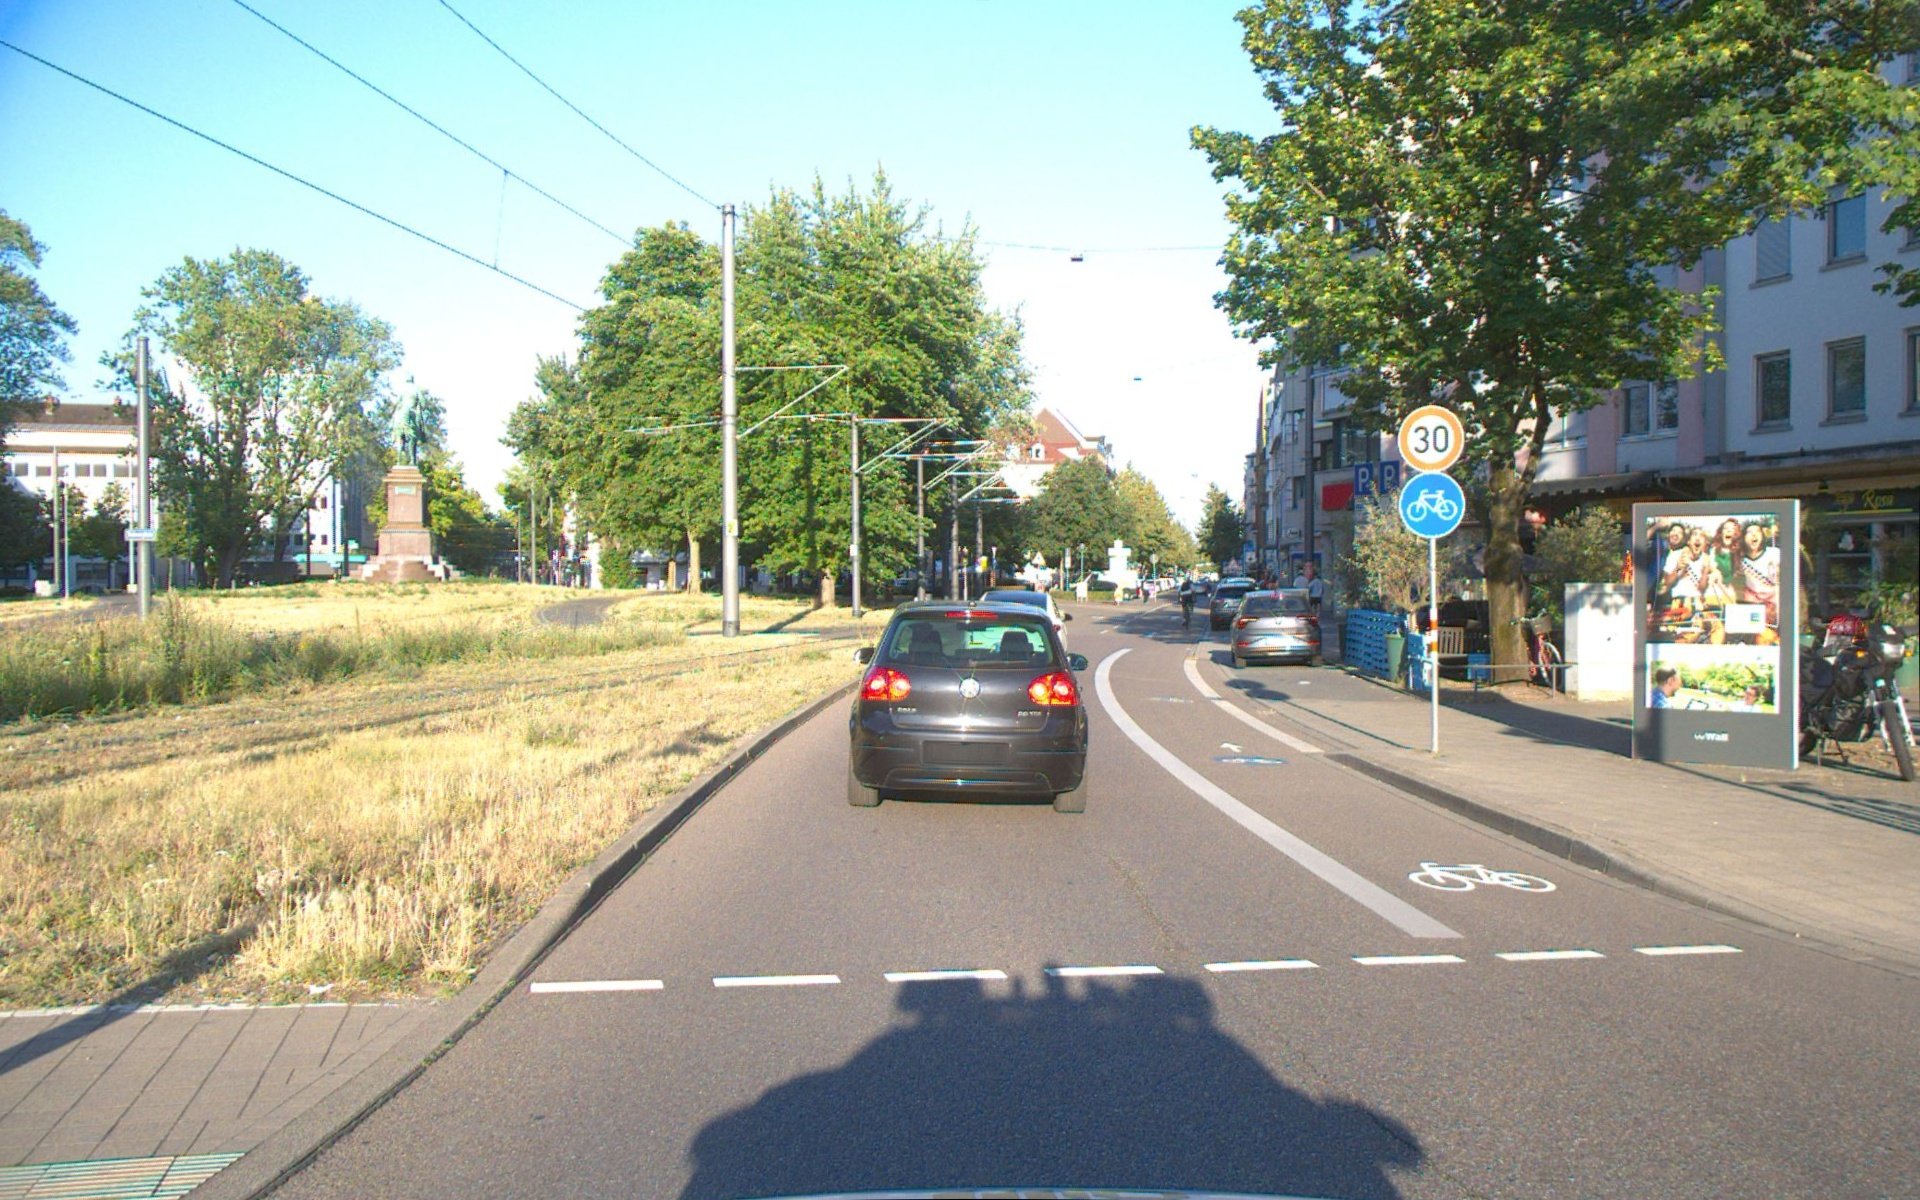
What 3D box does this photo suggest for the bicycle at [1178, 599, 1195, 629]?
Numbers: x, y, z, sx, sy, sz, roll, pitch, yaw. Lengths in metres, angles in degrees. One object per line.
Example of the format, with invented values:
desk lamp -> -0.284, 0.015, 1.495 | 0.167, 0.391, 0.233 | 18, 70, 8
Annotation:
bicycle -> 7.991, 0.486, 58.286 | 0.566, 1.004, 1.937 | 1, 0, 9

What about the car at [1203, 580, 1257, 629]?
car -> 9.527, 0.133, 58.359 | 1.744, 1.583, 4.238 | -2, 0, 9

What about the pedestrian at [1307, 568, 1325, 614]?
pedestrian -> 13.874, -0.357, 64.451 | 0.609, 1.770, 0.662 | -3, 0, 10

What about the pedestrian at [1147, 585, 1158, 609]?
pedestrian -> 12.737, -0.183, 109.638 | 0.720, 1.582, 0.632 | 0, 0, 5

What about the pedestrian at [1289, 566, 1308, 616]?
pedestrian -> 13.230, -0.354, 64.598 | 0.609, 1.890, 0.662 | -3, 0, 10

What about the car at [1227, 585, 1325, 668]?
car -> 6.268, 0.488, 33.129 | 1.691, 1.498, 3.902 | -2, 0, 8

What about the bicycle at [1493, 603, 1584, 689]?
bicycle -> 8.558, 0.664, 24.531 | 0.413, 1.178, 1.750 | 0, 1, -13

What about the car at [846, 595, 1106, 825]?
car -> 0.150, 0.726, 13.017 | 1.711, 1.486, 4.104 | 0, 0, 1

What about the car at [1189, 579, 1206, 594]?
car -> 26.247, -1.494, 182.732 | 1.866, 1.579, 4.004 | 0, 1, 8

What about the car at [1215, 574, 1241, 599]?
car -> 20.803, -1.059, 128.435 | 1.884, 1.873, 4.021 | -2, 0, 10

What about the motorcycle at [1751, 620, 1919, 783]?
motorcycle -> 7.924, 0.840, 14.543 | 0.653, 1.264, 2.197 | 0, 1, -8

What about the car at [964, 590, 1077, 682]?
car -> 1.055, 0.575, 29.019 | 1.826, 1.466, 4.198 | 0, 1, 2

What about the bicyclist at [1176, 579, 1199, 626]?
bicyclist -> 8.012, 0.084, 58.333 | 0.760, 1.646, 1.026 | 1, 0, 9

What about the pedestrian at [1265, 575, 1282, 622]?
pedestrian -> 12.300, -0.062, 64.905 | 0.566, 1.790, 0.662 | -3, 0, 10

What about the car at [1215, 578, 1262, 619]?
car -> 12.557, -0.091, 74.688 | 1.827, 1.743, 4.509 | -2, 0, 7

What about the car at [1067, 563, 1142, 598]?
car -> 11.302, -1.493, 129.291 | 5.424, 2.640, 2.144 | 0, 0, -18
